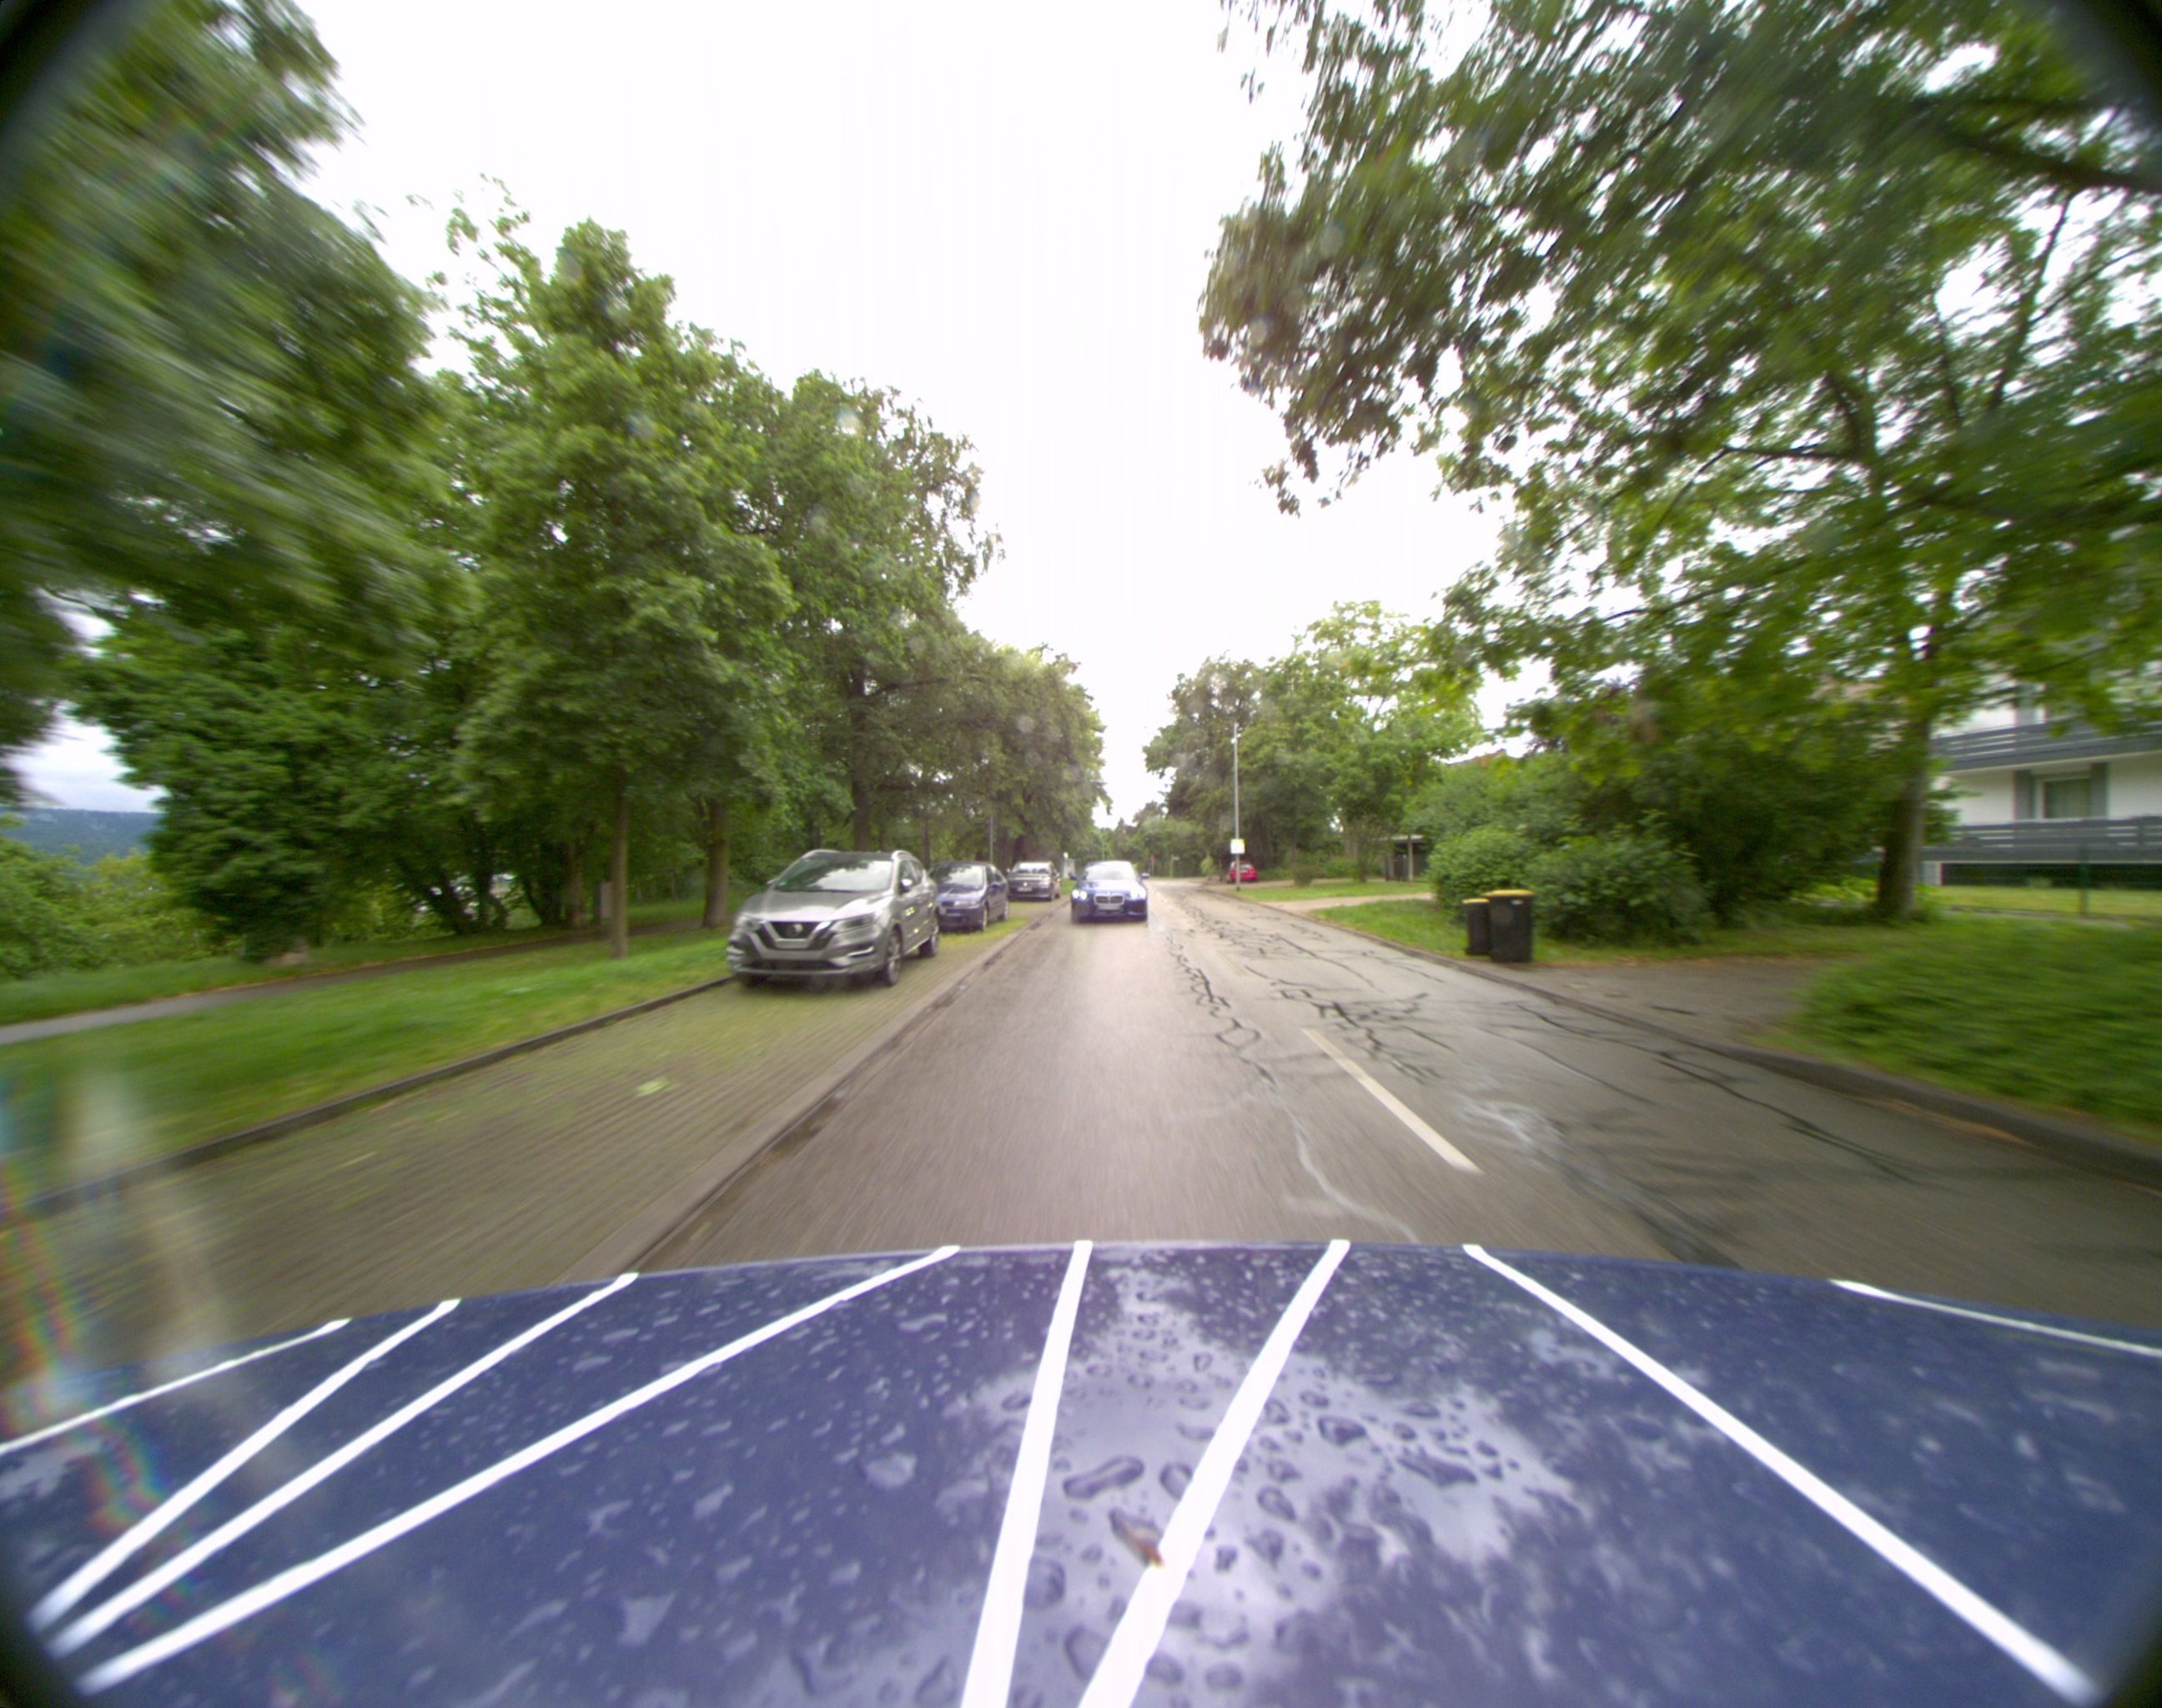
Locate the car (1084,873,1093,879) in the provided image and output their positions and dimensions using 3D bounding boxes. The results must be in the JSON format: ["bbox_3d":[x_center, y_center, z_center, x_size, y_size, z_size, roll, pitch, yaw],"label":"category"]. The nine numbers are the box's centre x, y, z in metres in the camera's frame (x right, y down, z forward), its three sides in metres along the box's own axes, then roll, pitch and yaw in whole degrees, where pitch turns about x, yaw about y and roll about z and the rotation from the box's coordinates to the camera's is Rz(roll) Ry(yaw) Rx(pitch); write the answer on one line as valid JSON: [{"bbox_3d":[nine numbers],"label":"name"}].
[{"bbox_3d":[1.831,5.323,183.188,1.794,1.414,4.362,2,-1,6],"label":"car"}]

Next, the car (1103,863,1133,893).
[{"bbox_3d":[2.614,1.660,53.273,1.998,2.001,4.002,0,-1,4],"label":"car"}]

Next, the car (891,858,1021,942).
[{"bbox_3d":[-2.561,0.892,16.510,1.747,1.444,4.002,5,0,5],"label":"car"}]

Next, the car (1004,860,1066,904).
[{"bbox_3d":[-1.613,0.955,27.958,1.704,1.453,4.219,2,0,4],"label":"car"}]

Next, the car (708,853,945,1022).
[{"bbox_3d":[-3.010,0.972,10.007,1.786,1.708,4.262,2,-3,-2],"label":"car"}]

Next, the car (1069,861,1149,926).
[{"bbox_3d":[0.721,0.963,19.579,1.839,1.501,4.002,0,-2,2],"label":"car"}]

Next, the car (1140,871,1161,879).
[{"bbox_3d":[13.701,4.152,149.739,3.863,1.577,1.818,-1,-1,-5],"label":"car"}]

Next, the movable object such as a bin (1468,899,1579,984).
[{"bbox_3d":[6.329,1.233,10.928,1.040,1.098,0.966,-2,0,5],"label":"movable object such as a bin"}]

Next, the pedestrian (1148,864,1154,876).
[{"bbox_3d":[11.212,2.598,121.844,0.713,1.820,0.881,-2,1,-1],"label":"pedestrian"}]

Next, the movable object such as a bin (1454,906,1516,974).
[{"bbox_3d":[6.222,1.310,11.732,0.649,0.973,0.578,1,0,5],"label":"movable object such as a bin"}]

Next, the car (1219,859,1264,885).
[{"bbox_3d":[10.925,1.200,52.055,1.999,1.507,3.998,2,1,-2],"label":"car"}]
